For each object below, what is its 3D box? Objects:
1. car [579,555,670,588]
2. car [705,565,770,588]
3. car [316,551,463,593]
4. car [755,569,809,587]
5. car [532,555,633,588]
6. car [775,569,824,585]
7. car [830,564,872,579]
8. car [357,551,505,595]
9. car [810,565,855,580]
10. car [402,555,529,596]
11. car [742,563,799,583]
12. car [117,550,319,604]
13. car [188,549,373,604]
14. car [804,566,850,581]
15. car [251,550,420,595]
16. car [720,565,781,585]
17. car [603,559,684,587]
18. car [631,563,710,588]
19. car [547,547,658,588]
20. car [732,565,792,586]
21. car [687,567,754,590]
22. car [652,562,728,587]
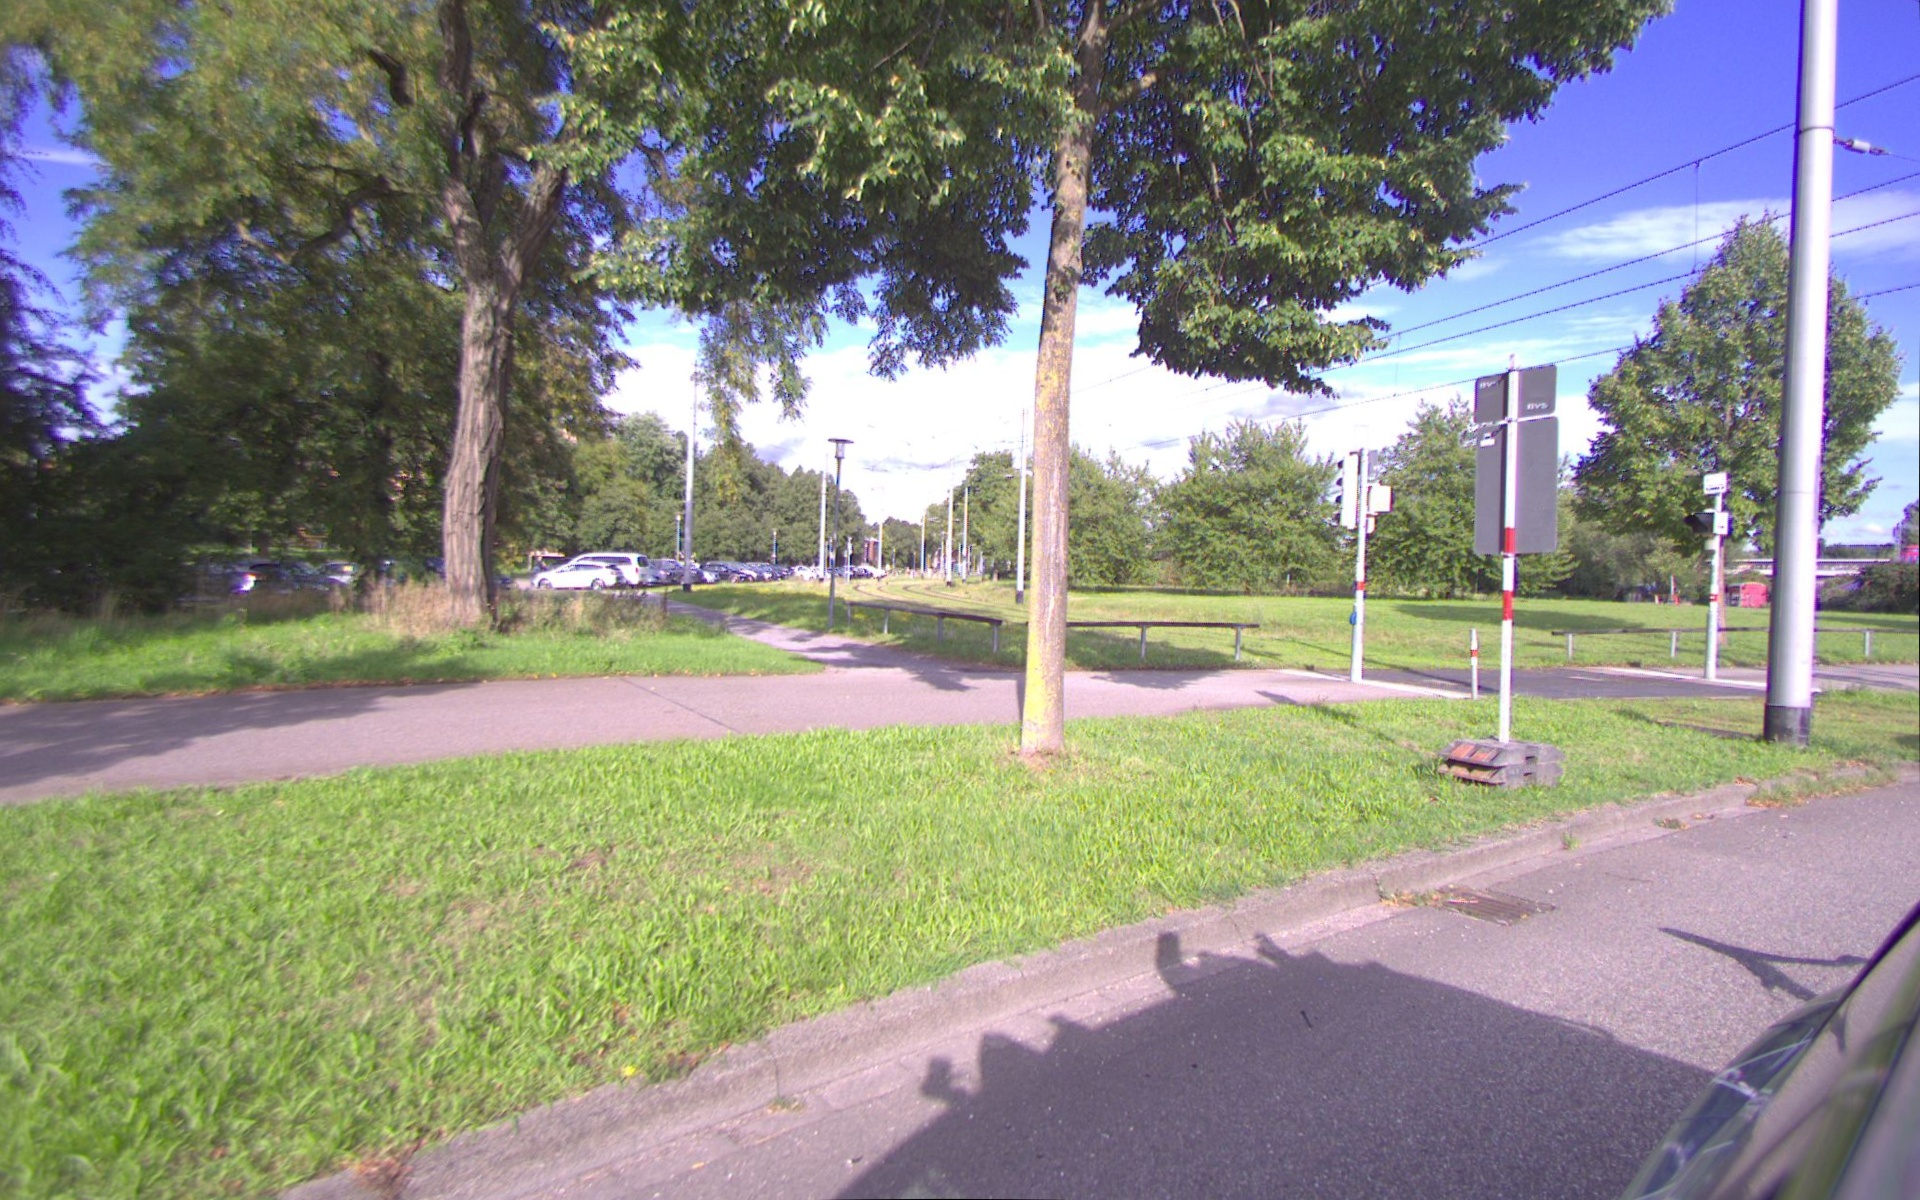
[{"bbox_3d":[-18.748,-1.596,56.621,4.405,1.695,2.094,2,2,15],"label":"car"},{"bbox_3d":[-16.730,-1.772,76.264,4.397,1.560,1.854,2,2,10],"label":"car"},{"bbox_3d":[-20.567,-1.019,36.578,4.393,1.379,1.858,1,2,7],"label":"car"},{"bbox_3d":[-15.941,-1.987,90.694,4.397,1.560,1.854,2,2,10],"label":"car"},{"bbox_3d":[-18.881,-1.416,50.731,4.383,1.534,1.862,1,2,-1],"label":"car"},{"bbox_3d":[-15.473,-2.229,97.830,4.393,1.493,1.796,1,2,8],"label":"car"},{"bbox_3d":[-12.296,-3.197,114.504,4.409,1.560,1.849,2,2,18],"label":"car"},{"bbox_3d":[-20.174,-1.060,38.684,4.860,1.534,1.858,1,2,7],"label":"car"},{"bbox_3d":[-13.815,-2.995,109.654,4.409,1.560,1.849,2,2,18],"label":"car"},{"bbox_3d":[-20.147,-1.027,41.302,4.393,1.534,1.858,1,2,7],"label":"car"},{"bbox_3d":[-16.026,-2.316,85.583,4.397,1.560,1.854,2,2,10],"label":"car"},{"bbox_3d":[-21.000,-0.674,28.736,4.652,1.376,1.858,1,2,7],"label":"car"},{"bbox_3d":[-20.859,-0.746,31.152,4.666,1.534,1.858,1,2,7],"label":"car"},{"bbox_3d":[-13.956,-2.794,106.407,4.409,1.560,1.849,2,2,18],"label":"car"},{"bbox_3d":[-20.951,-0.948,34.049,4.751,1.375,1.858,1,2,7],"label":"car"},{"bbox_3d":[-16.603,-1.987,80.190,4.397,1.471,1.854,2,2,10],"label":"car"},{"bbox_3d":[-18.373,-1.573,58.803,4.053,1.534,2.028,2,2,15],"label":"car"},{"bbox_3d":[-18.074,-1.561,63.216,4.397,1.416,1.856,2,2,10],"label":"car"},{"bbox_3d":[-18.876,-1.739,53.529,5.031,2.032,2.311,2,2,10],"label":"car"},{"bbox_3d":[-16.178,-2.018,82.797,4.397,1.560,1.854,2,2,10],"label":"car"},{"bbox_3d":[-17.439,-1.583,73.731,4.397,1.534,1.798,2,2,10],"label":"car"},{"bbox_3d":[-17.570,-1.673,65.908,4.397,1.523,1.856,2,2,10],"label":"car"}]
